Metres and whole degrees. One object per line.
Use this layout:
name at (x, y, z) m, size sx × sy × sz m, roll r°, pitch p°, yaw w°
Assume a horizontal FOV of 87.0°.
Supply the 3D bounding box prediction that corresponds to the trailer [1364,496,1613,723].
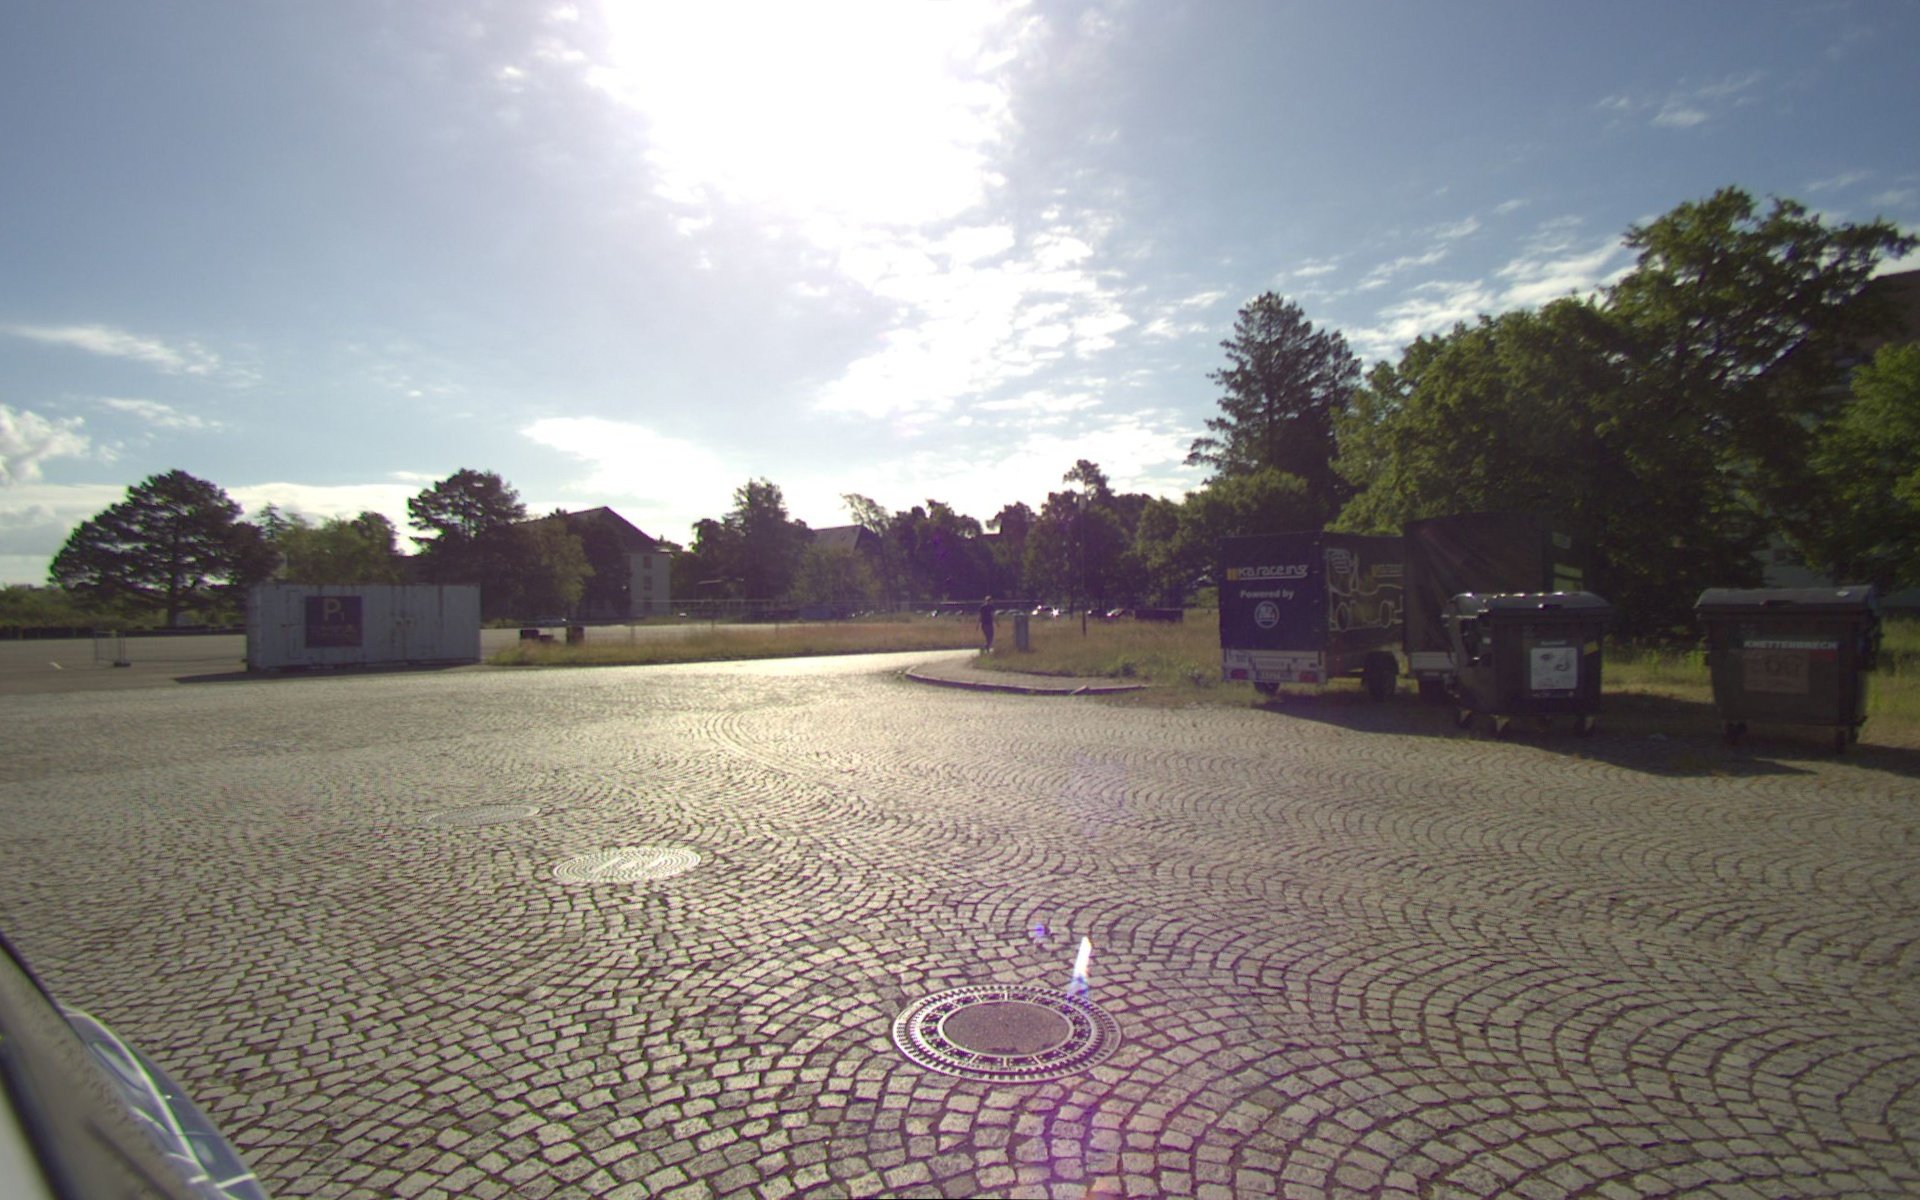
trailer at (7.047, 0.092, 13.202) m, size 1.941 × 2.409 × 4.792 m, roll -2°, pitch 0°, yaw 39°

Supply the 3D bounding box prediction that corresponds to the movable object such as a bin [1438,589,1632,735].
movable object such as a bin at (5.804, 0.606, 10.311) m, size 1.346 × 1.396 × 1.047 m, roll -1°, pitch -1°, yaw 2°

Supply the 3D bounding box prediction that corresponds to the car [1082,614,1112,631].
car at (16.963, 2.752, 125.326) m, size 1.996 × 2.029 × 3.951 m, roll -1°, pitch -1°, yaw 36°

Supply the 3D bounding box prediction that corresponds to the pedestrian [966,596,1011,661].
pedestrian at (0.880, 0.847, 30.748) m, size 1.125 × 1.929 × 0.800 m, roll 1°, pitch -1°, yaw -44°

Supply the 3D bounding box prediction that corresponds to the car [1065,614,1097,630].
car at (15.444, 2.798, 129.114) m, size 2.001 × 2.029 × 3.942 m, roll -2°, pitch -1°, yaw 44°

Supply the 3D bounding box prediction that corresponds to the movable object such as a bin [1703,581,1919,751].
movable object such as a bin at (7.736, 0.553, 9.202) m, size 1.067 × 1.396 × 1.371 m, roll 0°, pitch -1°, yaw -42°

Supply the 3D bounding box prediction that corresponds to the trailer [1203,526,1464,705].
trailer at (5.730, 0.182, 15.232) m, size 2.015 × 2.290 × 4.403 m, roll -2°, pitch 0°, yaw 44°

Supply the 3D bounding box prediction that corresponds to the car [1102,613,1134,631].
car at (19.261, 2.674, 123.445) m, size 2.000 × 2.029 × 3.943 m, roll -2°, pitch -1°, yaw 43°

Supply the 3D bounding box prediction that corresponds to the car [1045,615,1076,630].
car at (12.965, 2.884, 130.023) m, size 2.000 × 1.962 × 3.944 m, roll -1°, pitch -1°, yaw 42°
